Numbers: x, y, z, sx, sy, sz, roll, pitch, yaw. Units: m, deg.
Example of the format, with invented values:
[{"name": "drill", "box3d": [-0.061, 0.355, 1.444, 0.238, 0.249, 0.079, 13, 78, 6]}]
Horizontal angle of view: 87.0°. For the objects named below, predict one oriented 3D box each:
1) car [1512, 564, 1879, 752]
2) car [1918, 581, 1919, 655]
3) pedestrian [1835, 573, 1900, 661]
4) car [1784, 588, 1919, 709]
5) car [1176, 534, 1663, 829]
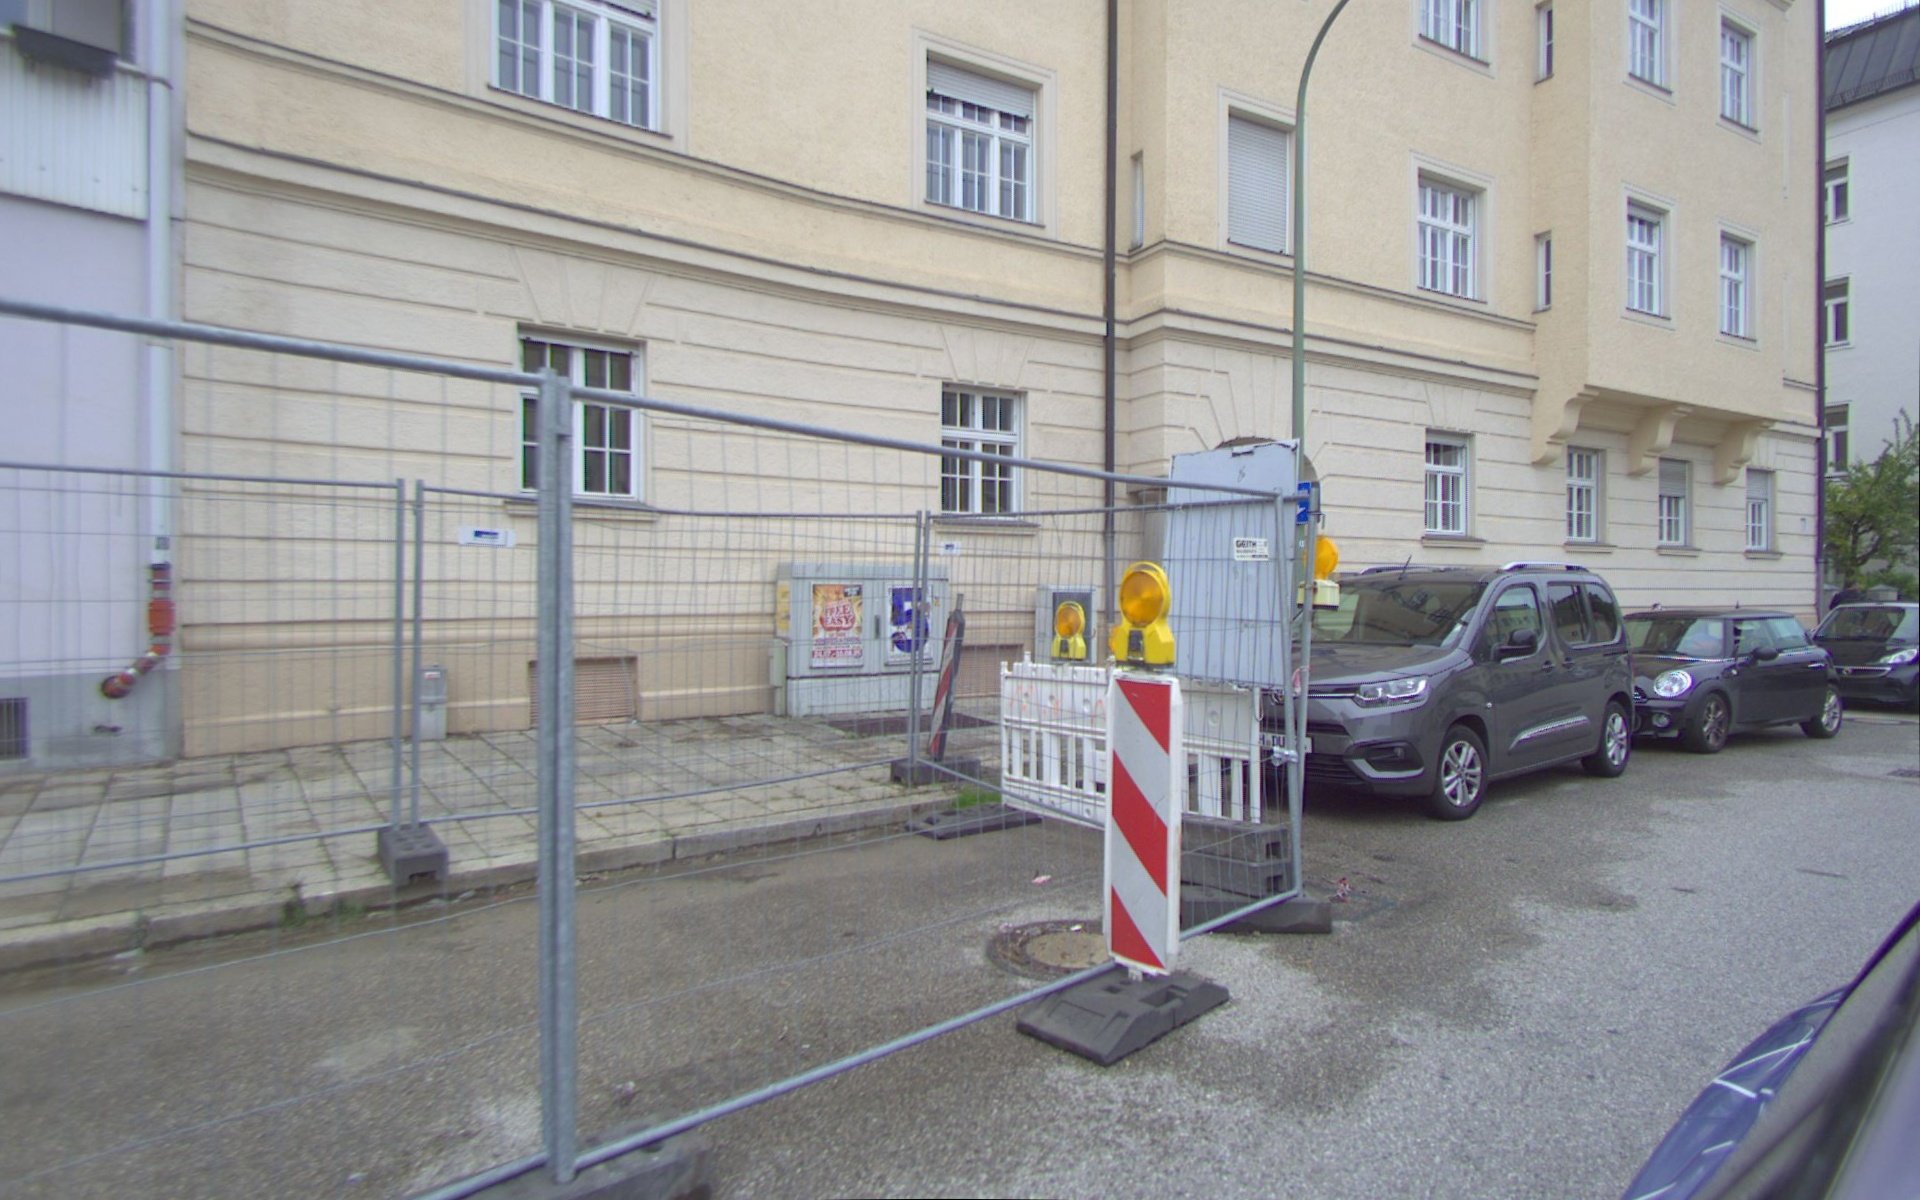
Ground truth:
[{"name": "car", "box3d": [8.083, 0.528, 11.111, 3.655, 1.752, 1.844, -1, -1, -29]}, {"name": "car", "box3d": [18.070, 0.576, 16.720, 4.592, 1.752, 1.936, 1, -2, -29]}, {"name": "pedestrian", "box3d": [18.928, 0.349, 21.119, 0.680, 1.783, 0.685, -1, -1, 2]}, {"name": "car", "box3d": [13.476, 0.624, 14.521, 2.804, 1.577, 1.514, -1, -1, -27]}, {"name": "car", "box3d": [3.871, 0.494, 8.261, 4.160, 1.822, 1.841, -1, -1, -37]}]
